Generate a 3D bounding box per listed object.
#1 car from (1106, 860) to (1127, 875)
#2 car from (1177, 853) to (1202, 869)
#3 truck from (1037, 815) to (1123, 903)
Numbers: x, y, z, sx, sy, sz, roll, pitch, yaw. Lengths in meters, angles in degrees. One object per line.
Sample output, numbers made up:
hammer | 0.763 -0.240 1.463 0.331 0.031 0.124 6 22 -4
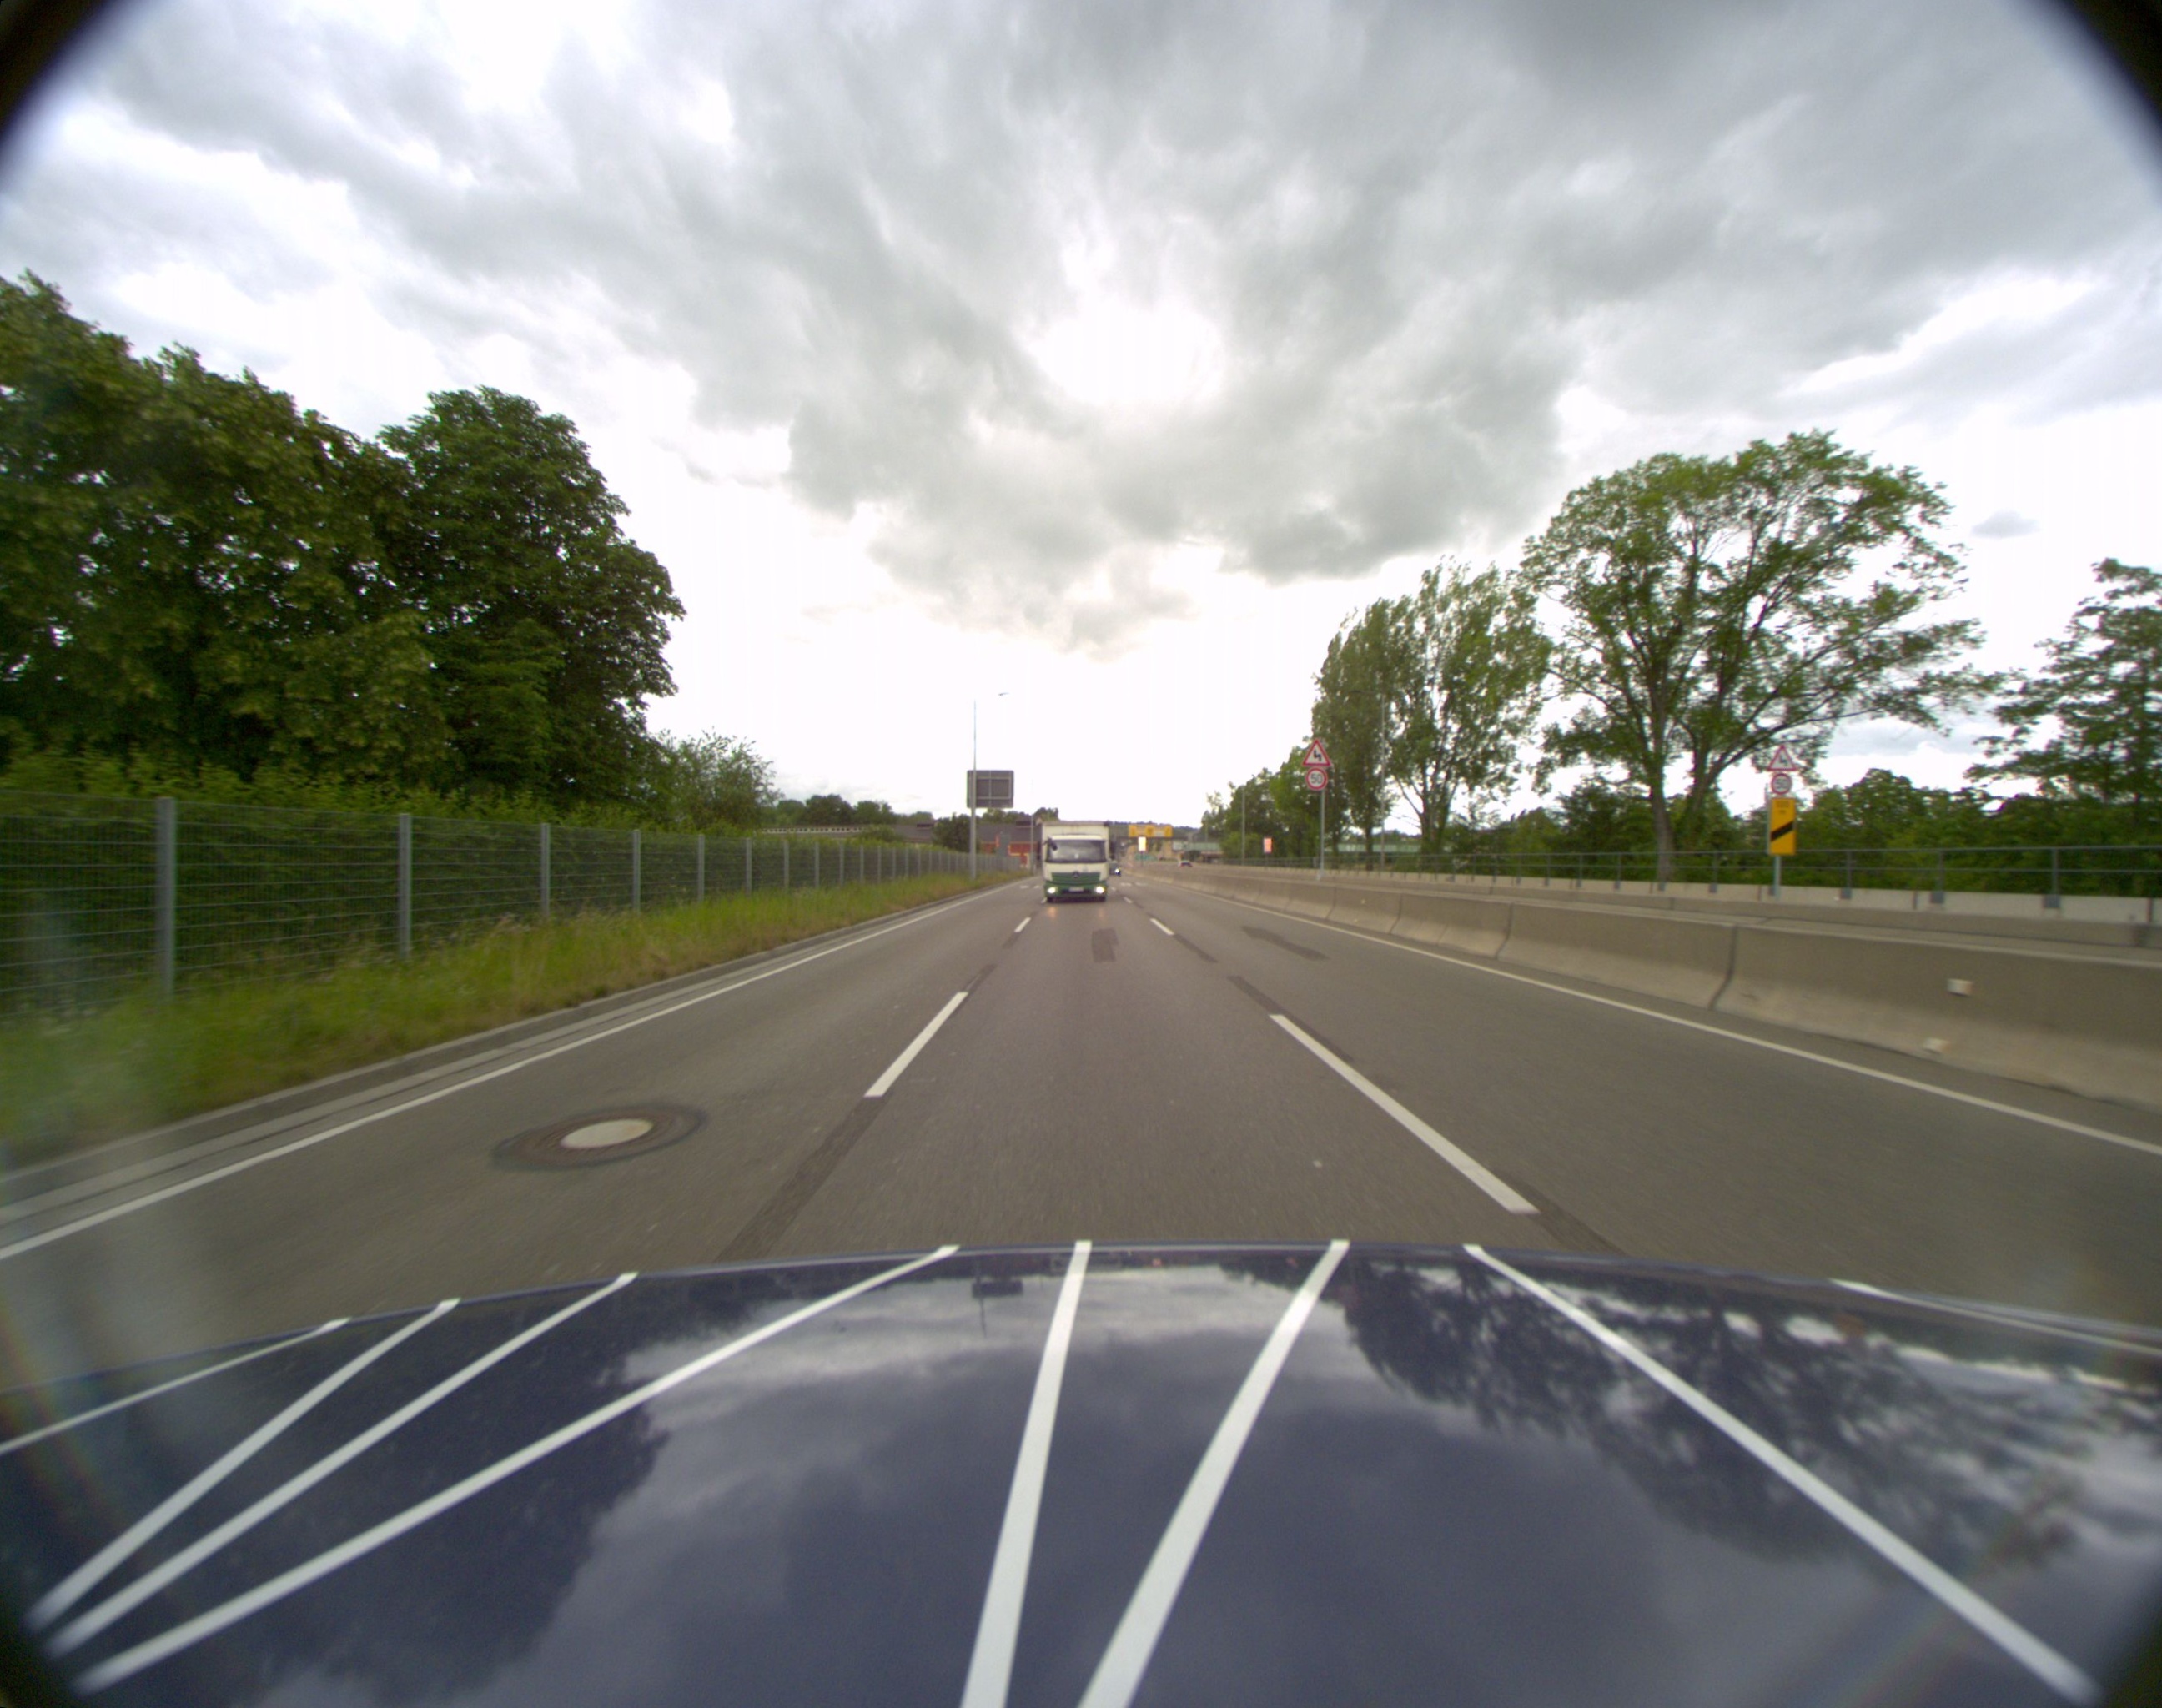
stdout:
car | 3.686 1.353 78.922 1.998 1.444 4.000 -2 0 1
car | 13.409 0.845 93.933 2.335 1.914 5.002 -2 0 1
truck | -0.099 0.182 31.306 2.943 3.064 8.386 -2 0 -1
